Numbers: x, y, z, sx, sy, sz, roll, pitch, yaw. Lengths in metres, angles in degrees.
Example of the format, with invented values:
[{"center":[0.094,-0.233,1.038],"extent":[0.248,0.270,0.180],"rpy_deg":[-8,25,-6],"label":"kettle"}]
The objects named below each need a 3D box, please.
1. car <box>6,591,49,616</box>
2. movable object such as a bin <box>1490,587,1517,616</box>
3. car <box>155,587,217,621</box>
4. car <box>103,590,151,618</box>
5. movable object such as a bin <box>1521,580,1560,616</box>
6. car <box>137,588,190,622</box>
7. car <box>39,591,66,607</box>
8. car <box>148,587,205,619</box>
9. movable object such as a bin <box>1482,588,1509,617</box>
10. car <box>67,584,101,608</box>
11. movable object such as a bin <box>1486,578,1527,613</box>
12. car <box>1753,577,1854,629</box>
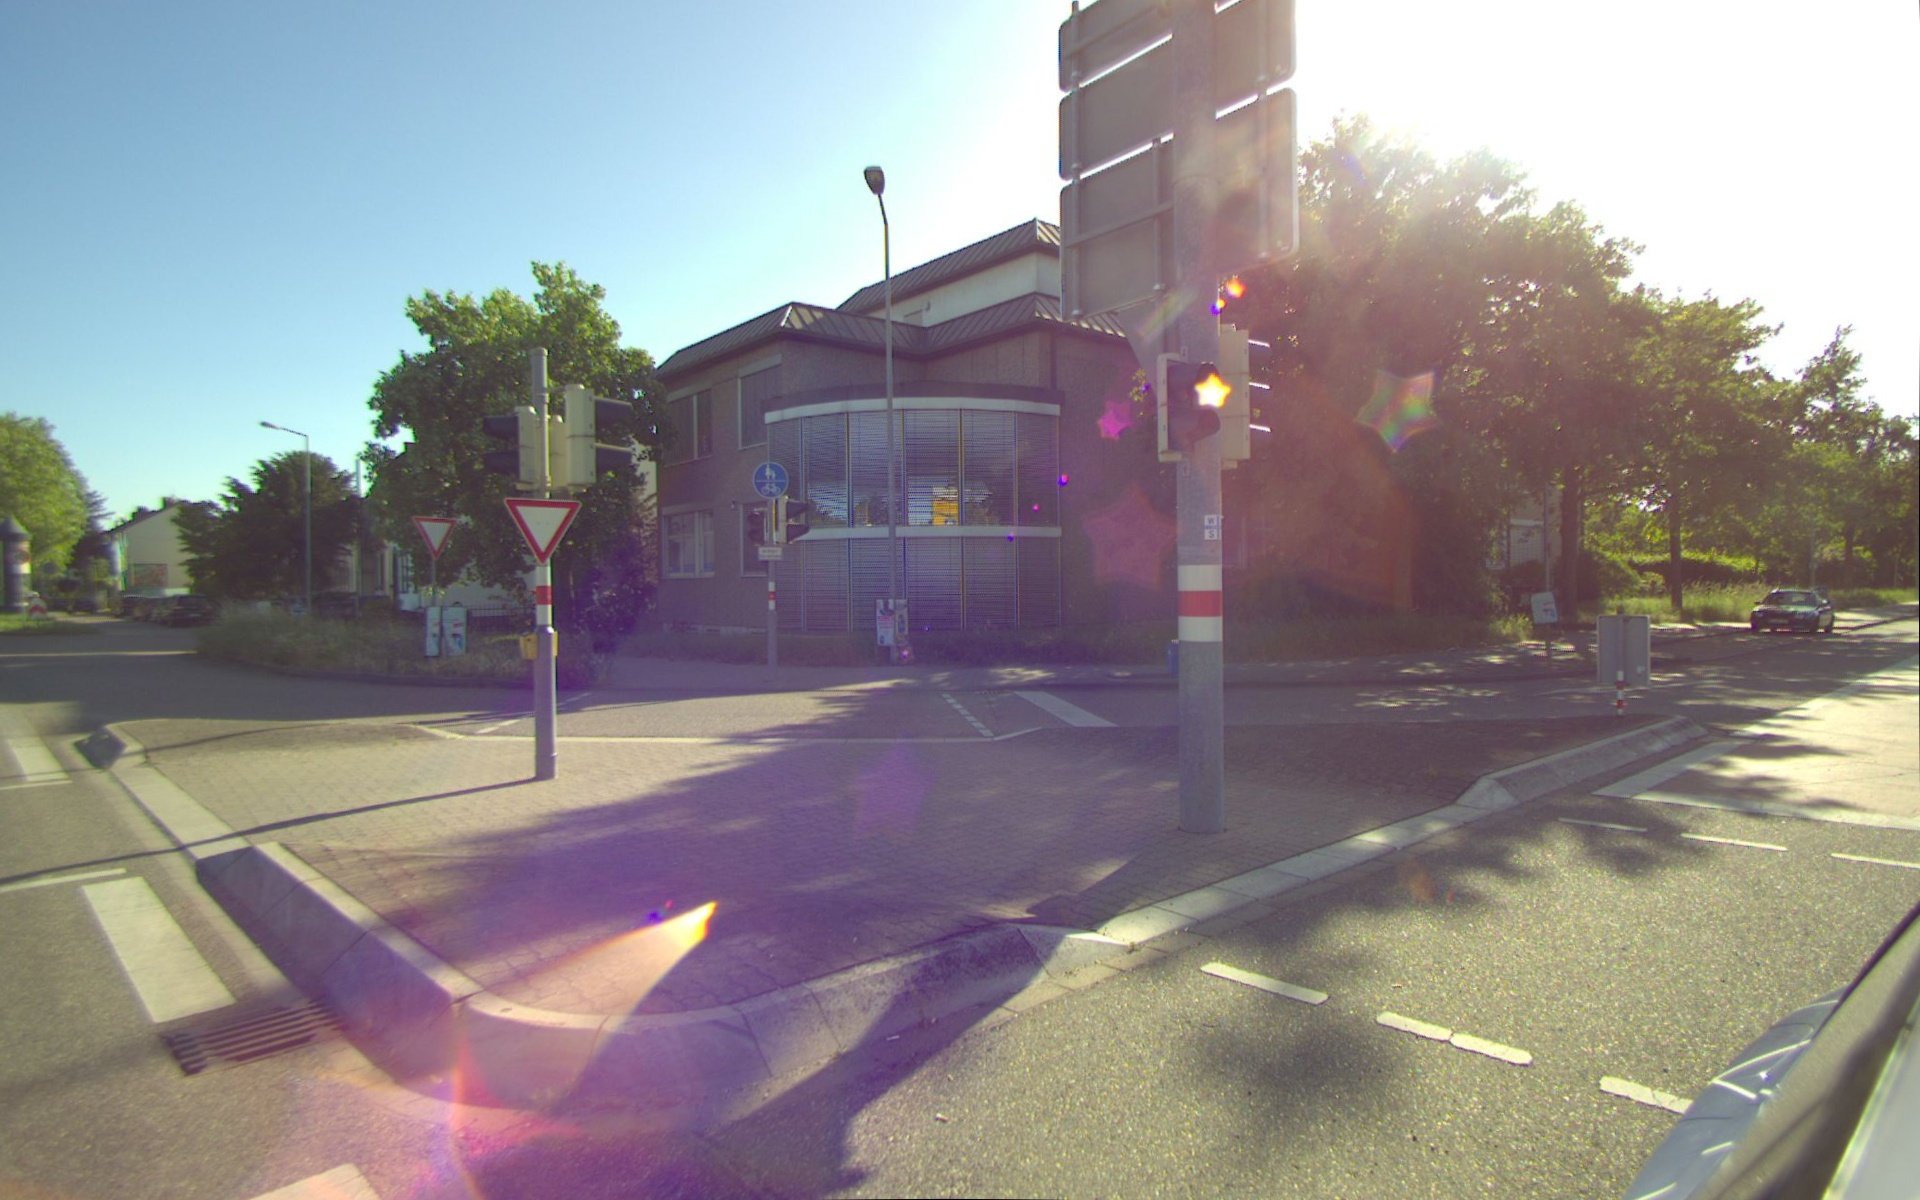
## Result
[{"center":[-55.987,0.196,60.740],"extent":[3.988,1.452,1.706],"rpy_deg":[0,1,45],"label":"car"},{"center":[20.610,0.054,38.371],"extent":[0.683,1.055,0.687],"rpy_deg":[-1,0,-40],"label":"movable object such as a bin"},{"center":[-39.175,0.174,51.202],"extent":[3.988,1.638,1.968],"rpy_deg":[1,1,45],"label":"car"},{"center":[-53.400,0.264,64.868],"extent":[3.987,1.612,1.968],"rpy_deg":[-2,-1,45],"label":"car"},{"center":[22.417,-0.079,39.076],"extent":[0.782,1.338,1.089],"rpy_deg":[-1,1,-40],"label":"movable object such as a bin"},{"center":[-46.031,0.319,58.461],"extent":[3.987,1.841,1.968],"rpy_deg":[-2,-1,45],"label":"car"},{"center":[-93.479,-0.153,104.243],"extent":[3.988,1.611,1.829],"rpy_deg":[1,1,45],"label":"car"},{"center":[-42.580,0.177,54.954],"extent":[3.987,1.616,1.968],"rpy_deg":[-2,-1,45],"label":"car"},{"center":[20.067,0.082,37.918],"extent":[0.683,1.055,0.687],"rpy_deg":[-1,-1,-40],"label":"movable object such as a bin"},{"center":[-75.230,-0.336,86.923],"extent":[3.984,1.981,1.769],"rpy_deg":[-2,-1,43],"label":"car"},{"center":[21.627,-0.169,40.053],"extent":[0.782,1.358,1.207],"rpy_deg":[-1,1,-40],"label":"movable object such as a bin"},{"center":[27.109,0.050,32.492],"extent":[4.141,1.504,1.776],"rpy_deg":[-2,2,-40],"label":"car"}]
